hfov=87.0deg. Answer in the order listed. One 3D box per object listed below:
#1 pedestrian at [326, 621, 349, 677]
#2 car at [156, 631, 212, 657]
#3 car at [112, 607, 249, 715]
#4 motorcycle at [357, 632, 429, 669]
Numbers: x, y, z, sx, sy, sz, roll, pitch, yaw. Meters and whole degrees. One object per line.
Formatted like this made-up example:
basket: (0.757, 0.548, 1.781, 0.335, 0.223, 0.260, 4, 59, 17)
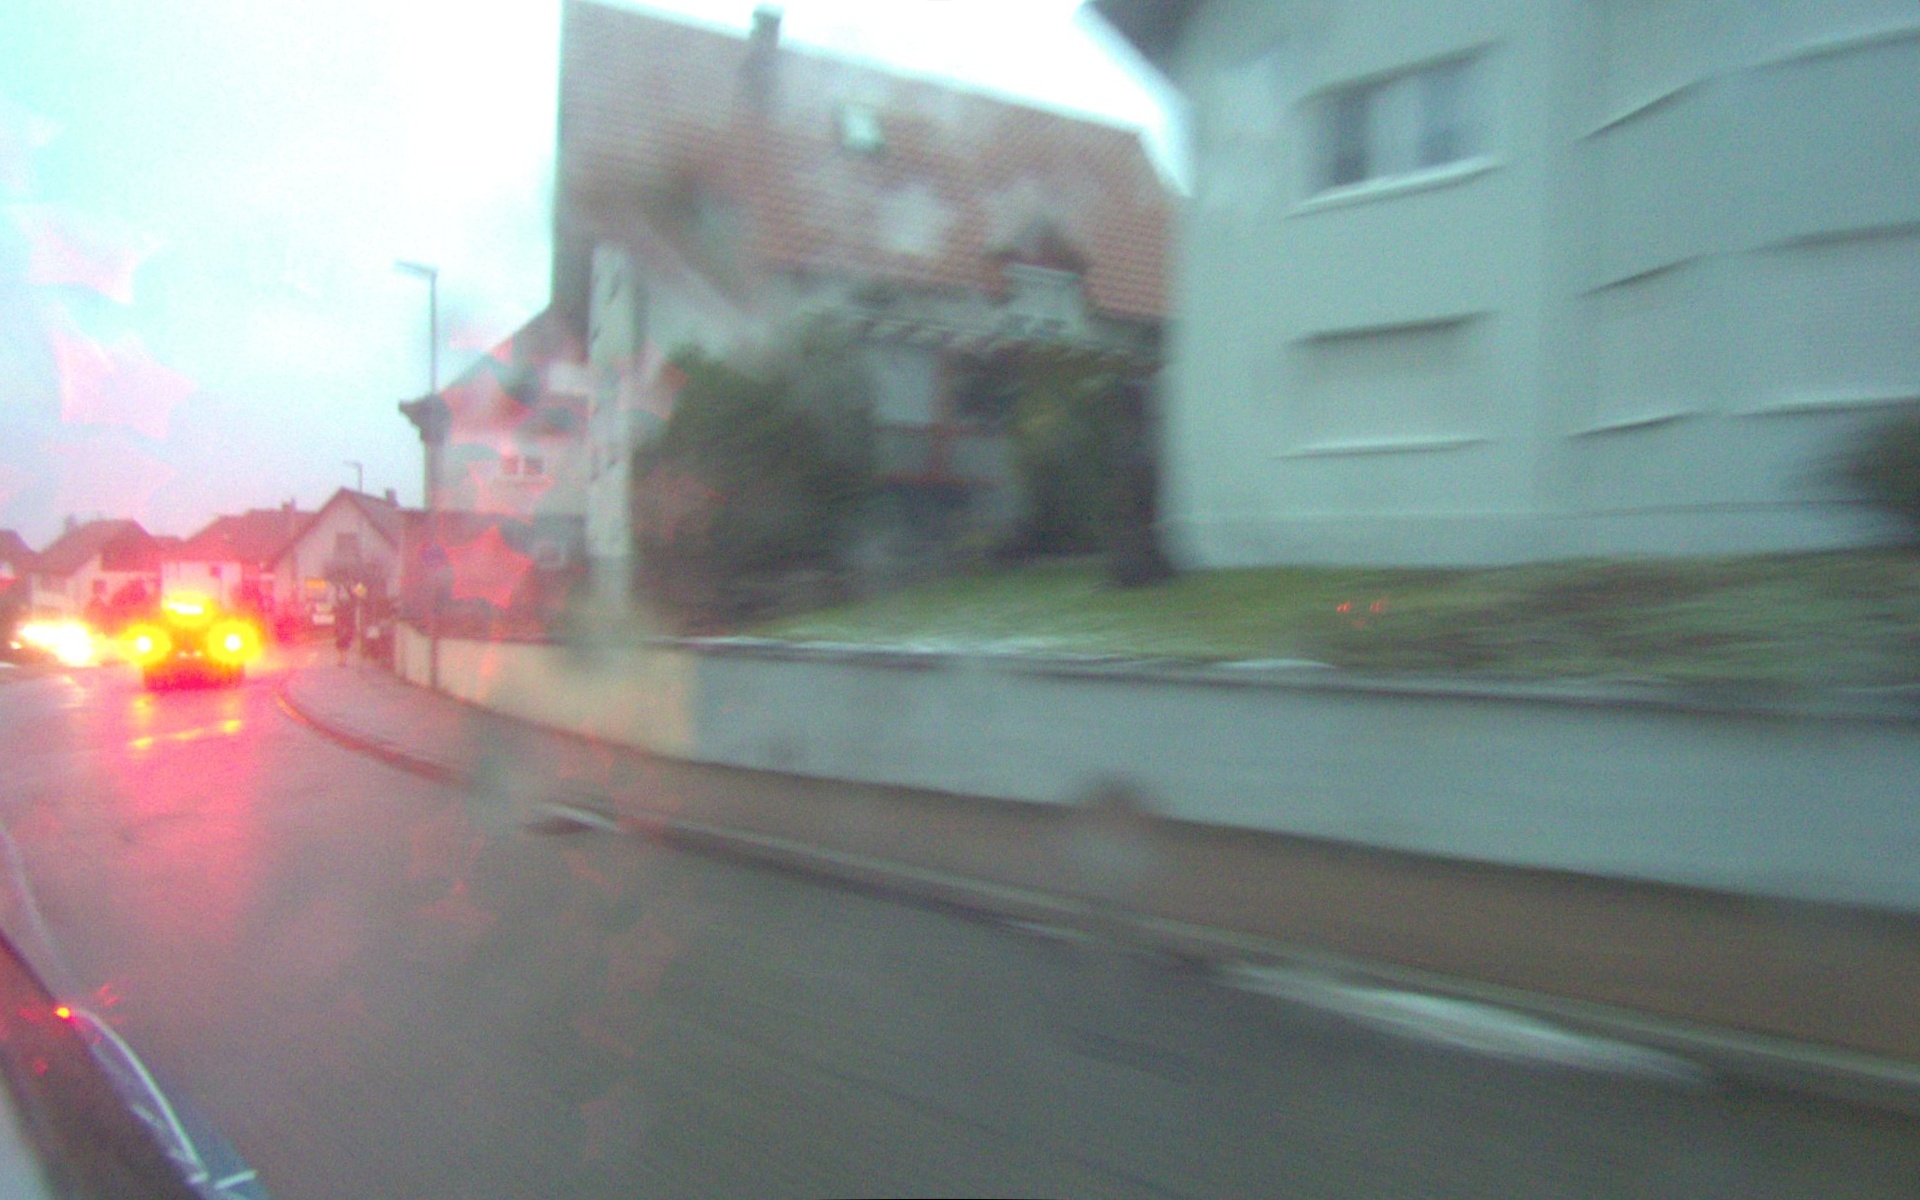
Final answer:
pedestrian: (-20.064, 1.562, 32.641, 0.589, 1.746, 0.814, -1, 1, -31)
car: (-46.831, 2.661, 61.040, 4.063, 1.451, 1.805, -2, 0, 39)
car: (-16.639, 1.221, 21.666, 2.083, 2.042, 4.993, 1, -2, -38)
motorcycle: (-22.069, 1.947, 39.414, 2.209, 1.308, 1.056, -2, 0, 4)
